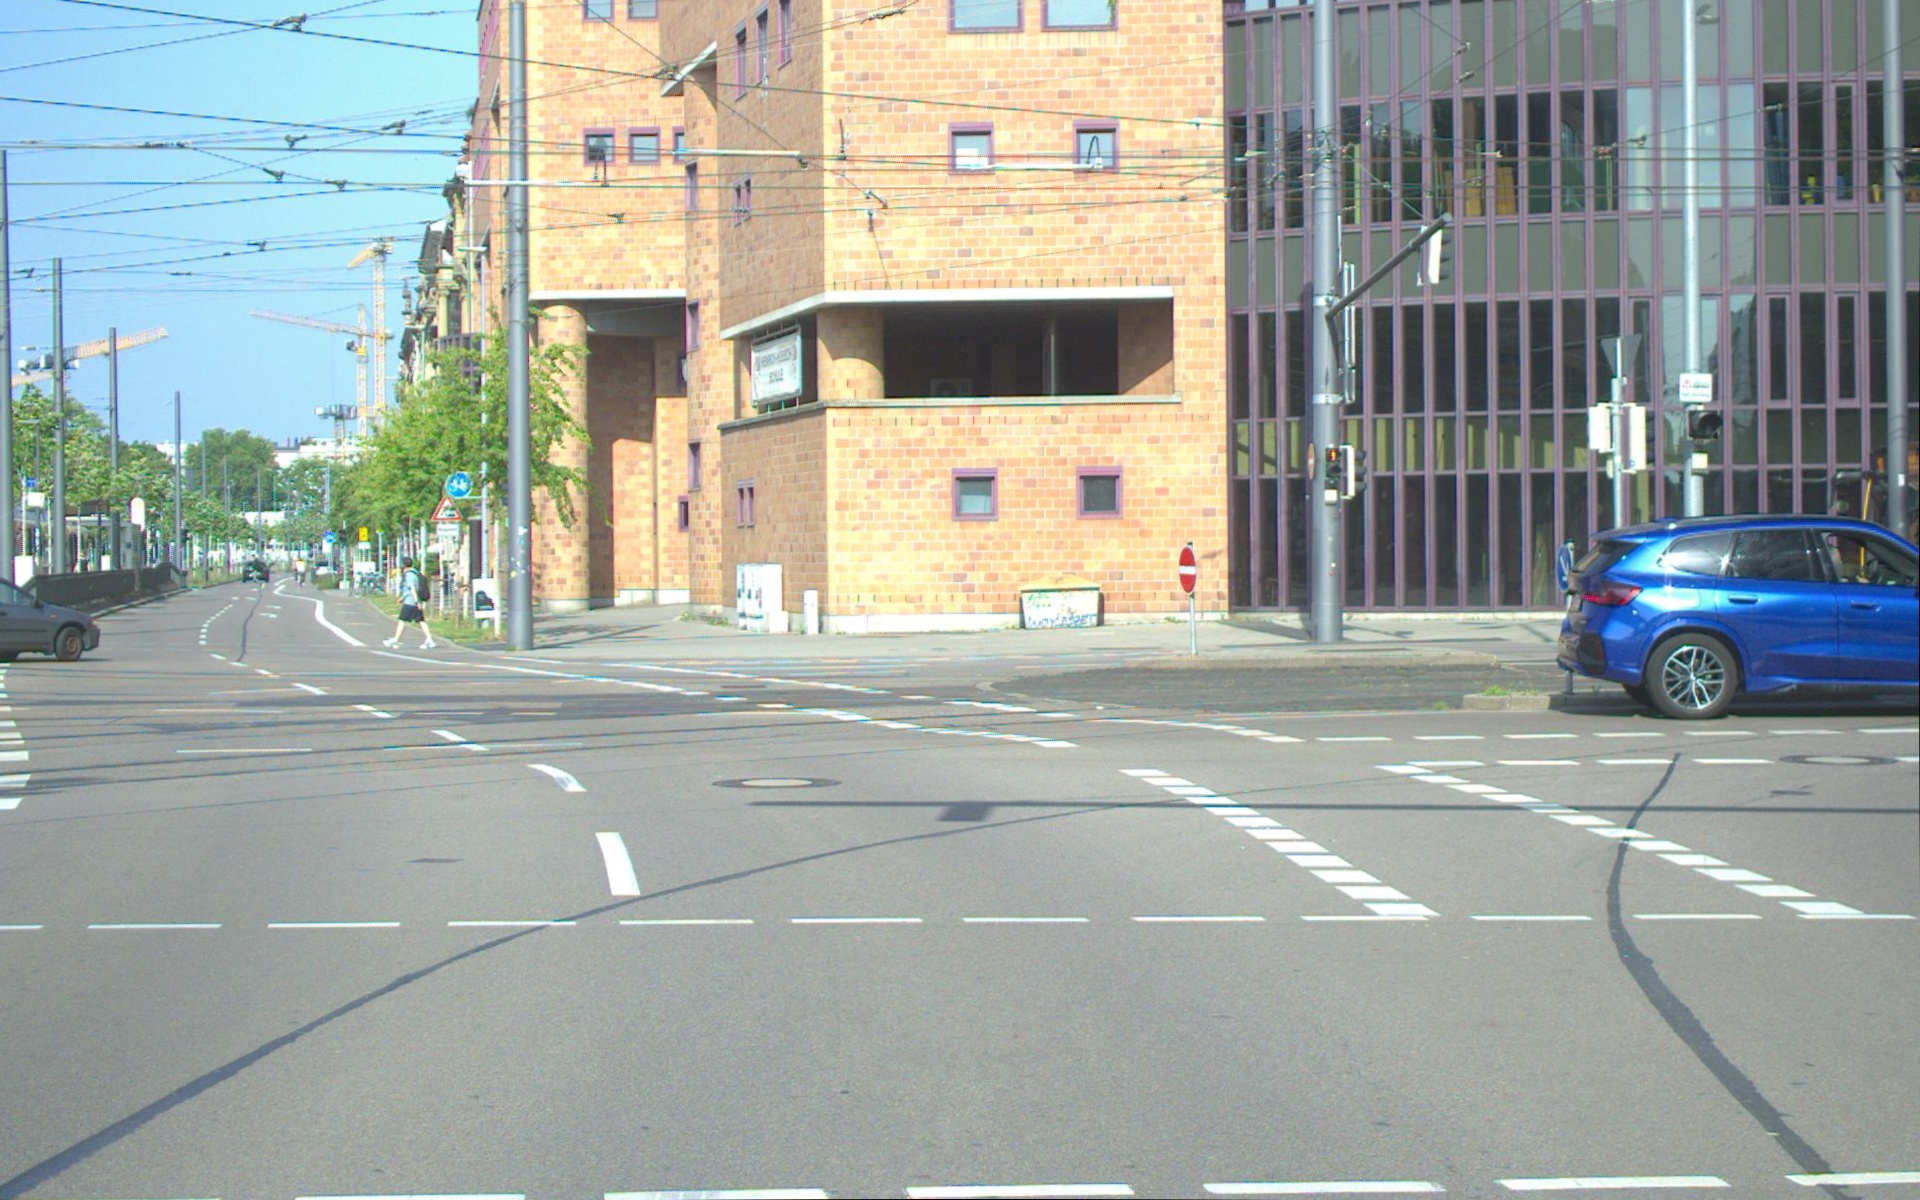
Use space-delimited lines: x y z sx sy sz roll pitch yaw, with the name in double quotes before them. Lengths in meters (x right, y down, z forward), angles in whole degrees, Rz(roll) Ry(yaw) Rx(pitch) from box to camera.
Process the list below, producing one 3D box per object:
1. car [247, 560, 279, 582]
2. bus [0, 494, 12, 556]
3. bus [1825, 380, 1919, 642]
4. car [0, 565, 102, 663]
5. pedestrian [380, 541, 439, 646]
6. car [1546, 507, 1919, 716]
"car" -50.224 -2.099 247.556 2.073 1.537 4.415 0 0 -14
"bus" -32.056 -2.442 112.089 1.993 2.007 4.001 0 1 -13
"bus" 22.170 -1.344 52.486 17.605 3.797 2.866 0 -1 -9
"car" -15.410 0.222 52.322 1.998 1.481 4.211 -1 -1 38
"pedestrian" -10.675 -0.132 66.706 0.841 2.007 0.810 0 1 16
"car" 7.148 0.091 28.138 4.400 1.630 1.992 -1 -1 3
